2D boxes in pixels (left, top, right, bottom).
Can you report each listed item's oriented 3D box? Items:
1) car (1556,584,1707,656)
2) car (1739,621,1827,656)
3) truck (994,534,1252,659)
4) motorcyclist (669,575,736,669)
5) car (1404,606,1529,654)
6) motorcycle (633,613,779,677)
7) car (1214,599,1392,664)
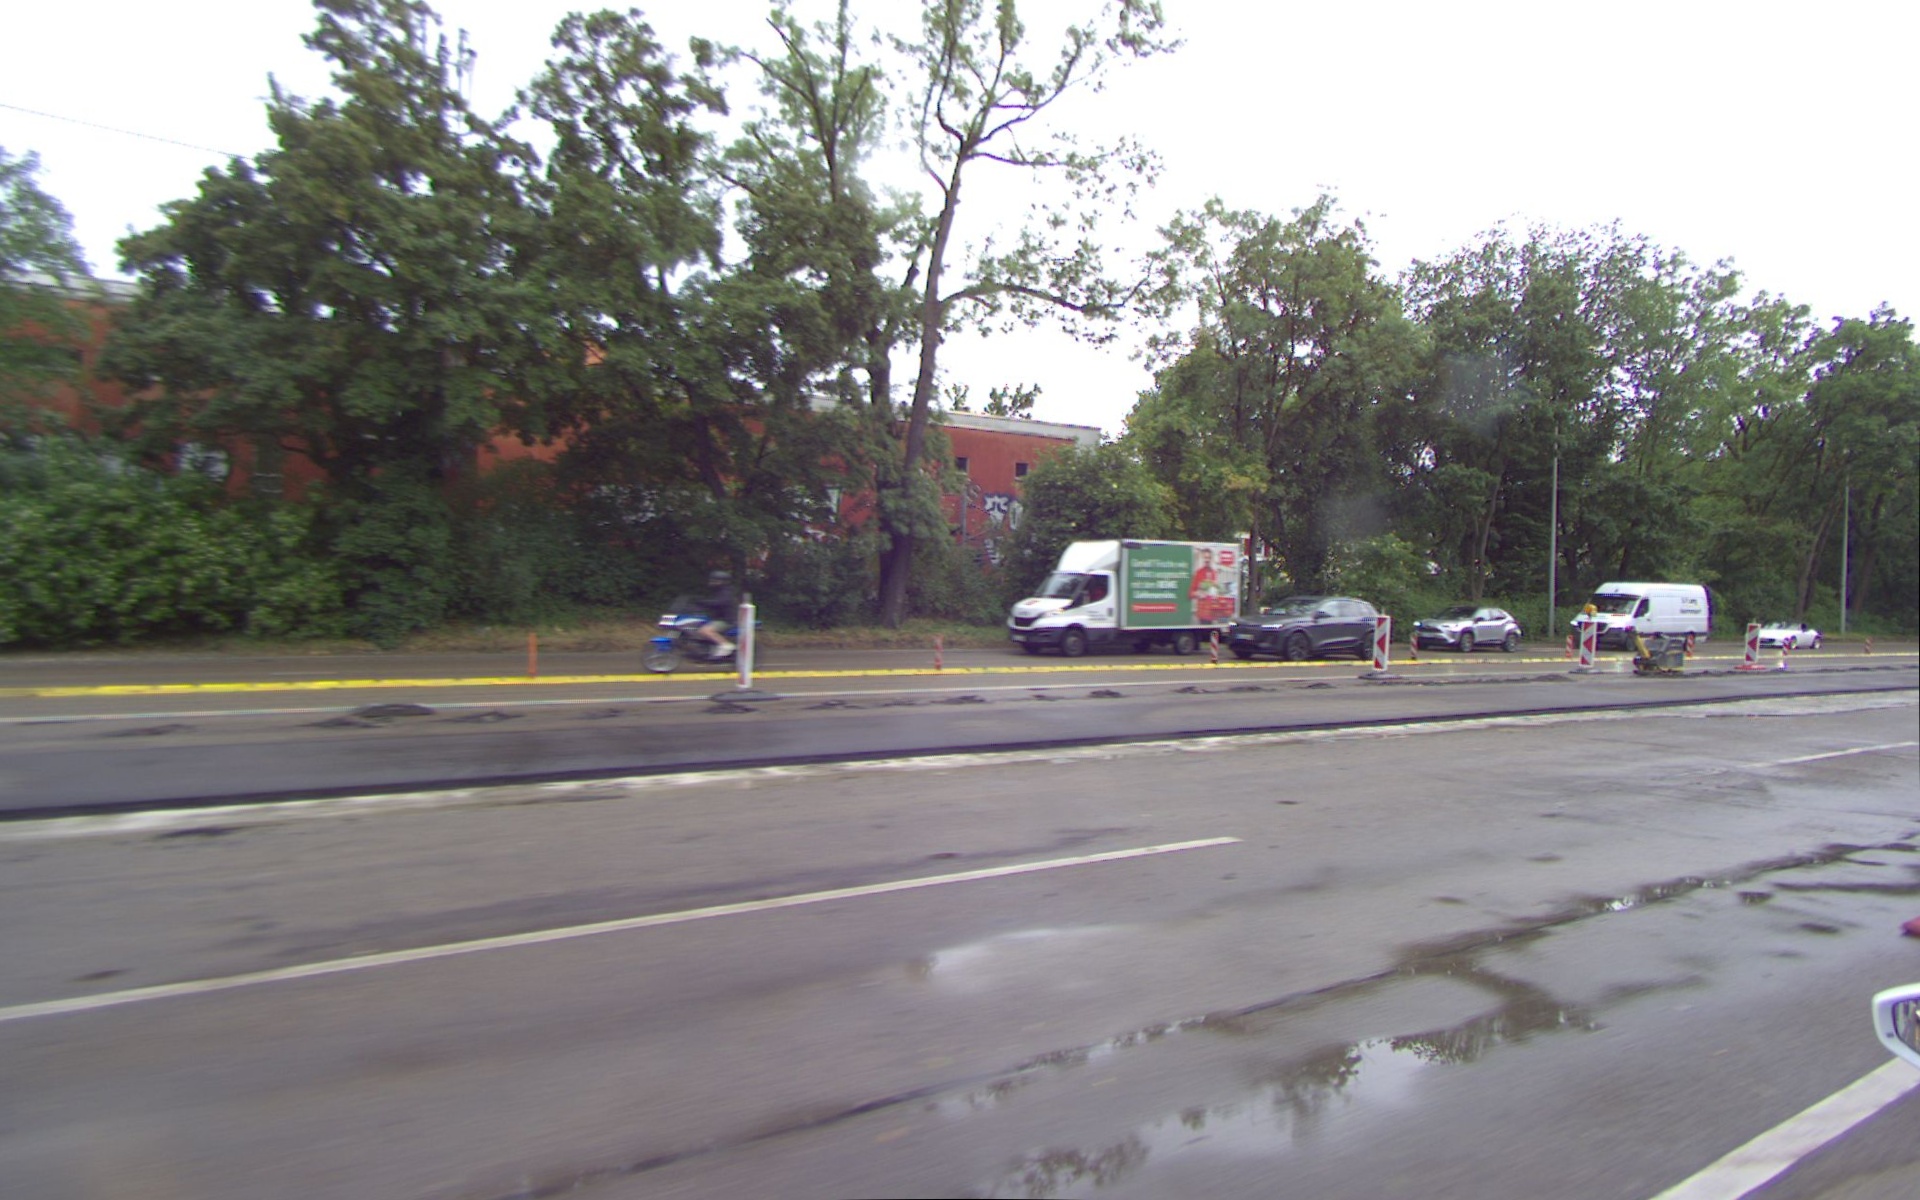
[{"bbox_3d":[26.290,0.809,39.233,6.771,2.614,2.090,1,0,-29],"label":"car"},{"bbox_3d":[37.385,1.743,45.620,4.268,1.505,1.662,1,0,-29],"label":"car"},{"bbox_3d":[4.404,-0.021,26.610,6.851,2.979,2.236,1,0,-29],"label":"truck"},{"bbox_3d":[-4.501,0.379,17.518,0.916,1.585,0.824,1,1,-30],"label":"motorcyclist"},{"bbox_3d":[17.028,1.009,33.736,4.268,1.505,1.662,1,0,-29],"label":"car"},{"bbox_3d":[-4.426,0.775,17.579,2.339,1.028,0.824,2,1,-31],"label":"motorcycle"},{"bbox_3d":[8.900,0.806,26.011,4.383,1.551,1.951,1,0,-29],"label":"car"}]
